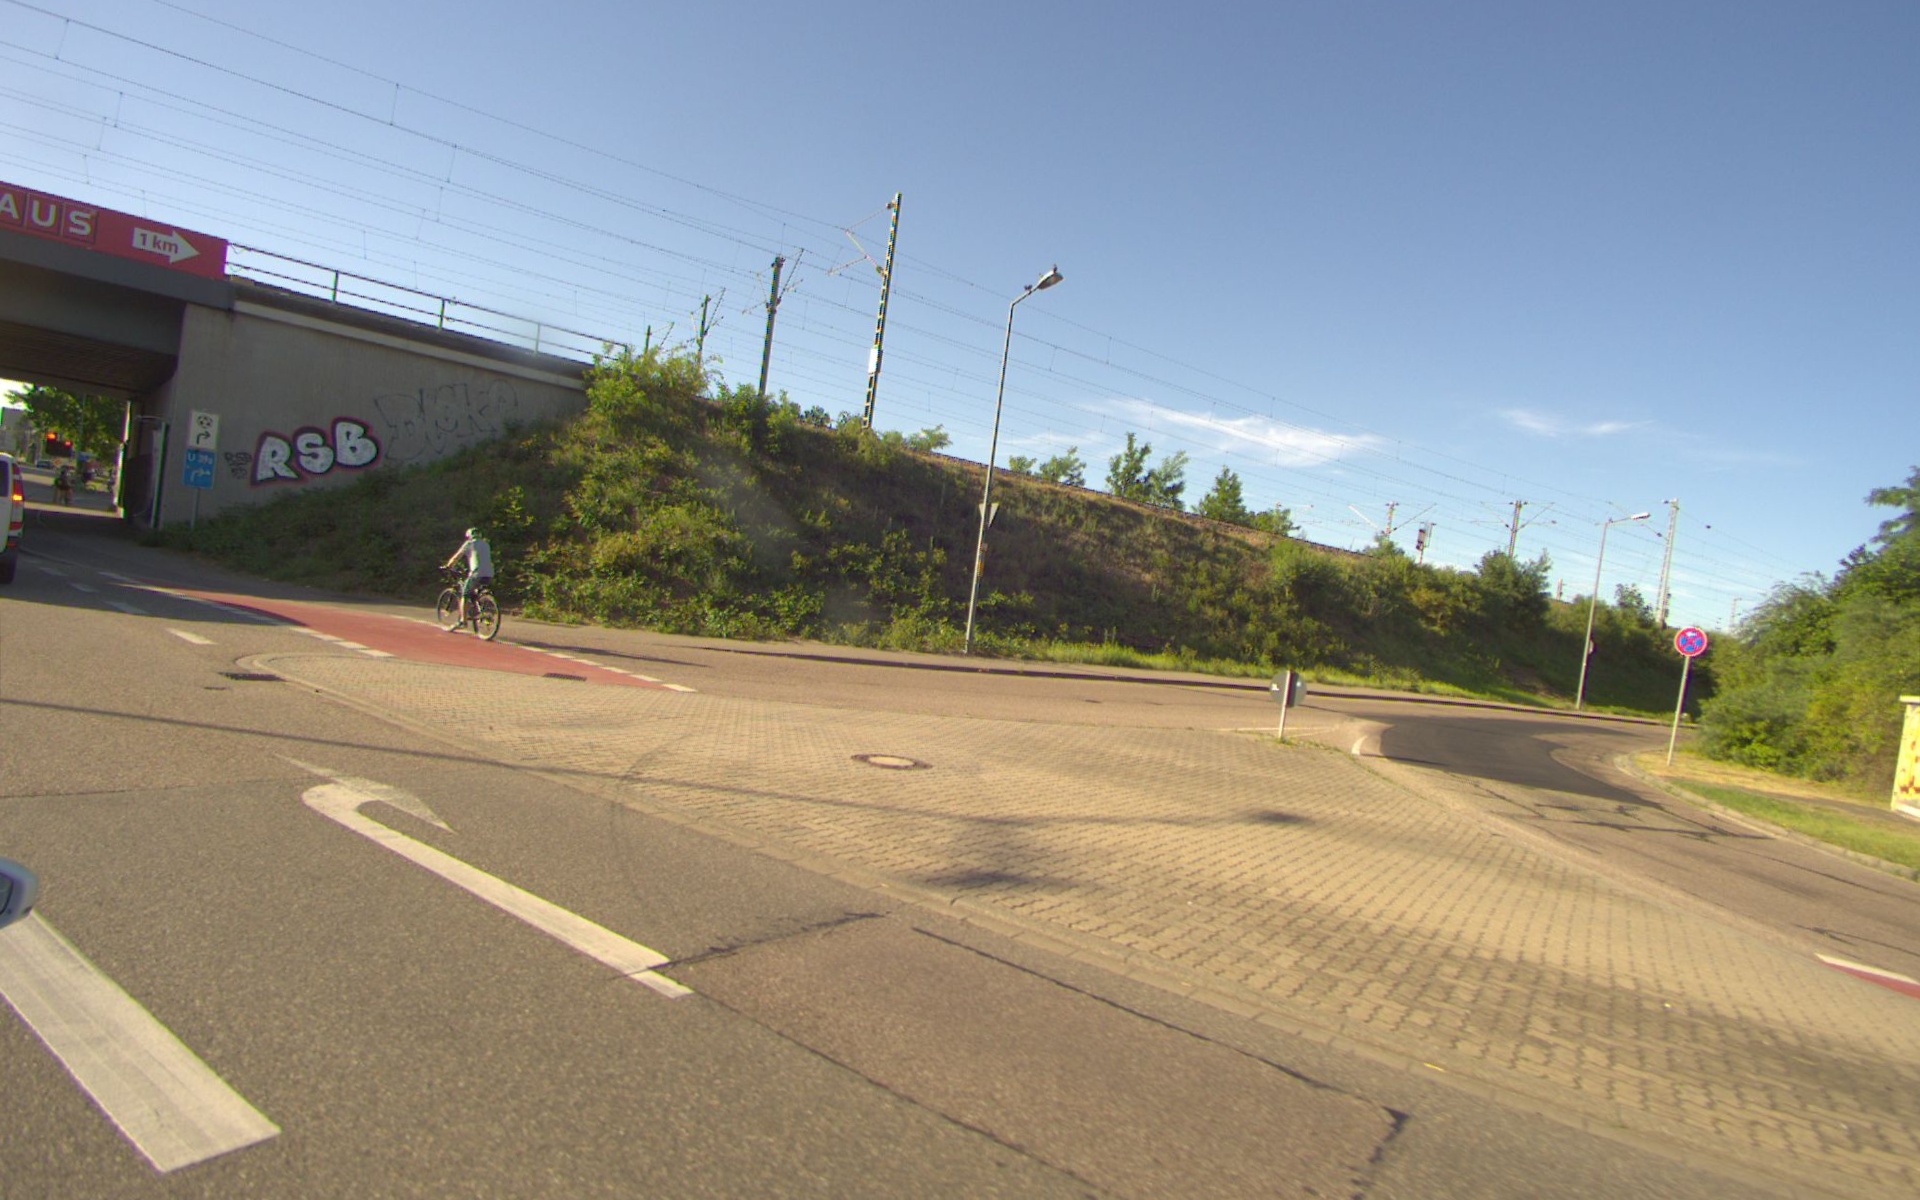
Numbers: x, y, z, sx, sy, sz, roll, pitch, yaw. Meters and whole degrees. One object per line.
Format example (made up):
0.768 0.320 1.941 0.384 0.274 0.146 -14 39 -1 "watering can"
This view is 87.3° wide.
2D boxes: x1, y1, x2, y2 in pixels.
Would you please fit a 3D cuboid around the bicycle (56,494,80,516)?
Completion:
-42.219 -4.517 47.599 0.769 0.905 1.971 4 2 -43 "bicycle"

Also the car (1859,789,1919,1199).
3.978 1.225 0.867 4.335 1.660 1.919 8 -1 30 "car"

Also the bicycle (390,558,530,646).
-7.886 0.018 15.820 2.411 1.127 0.743 7 2 32 "bicycle"

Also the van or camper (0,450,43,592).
-15.381 -1.391 14.759 4.806 1.907 1.958 8 0 38 "van or camper"

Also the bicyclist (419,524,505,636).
-7.812 -0.306 15.789 0.897 1.640 0.746 7 3 32 "bicyclist"

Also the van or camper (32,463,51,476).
-157.844 -22.477 172.885 1.774 1.888 3.870 5 2 -35 "van or camper"

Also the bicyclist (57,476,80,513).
-42.168 -4.990 47.570 0.748 1.605 0.914 4 3 -43 "bicyclist"
